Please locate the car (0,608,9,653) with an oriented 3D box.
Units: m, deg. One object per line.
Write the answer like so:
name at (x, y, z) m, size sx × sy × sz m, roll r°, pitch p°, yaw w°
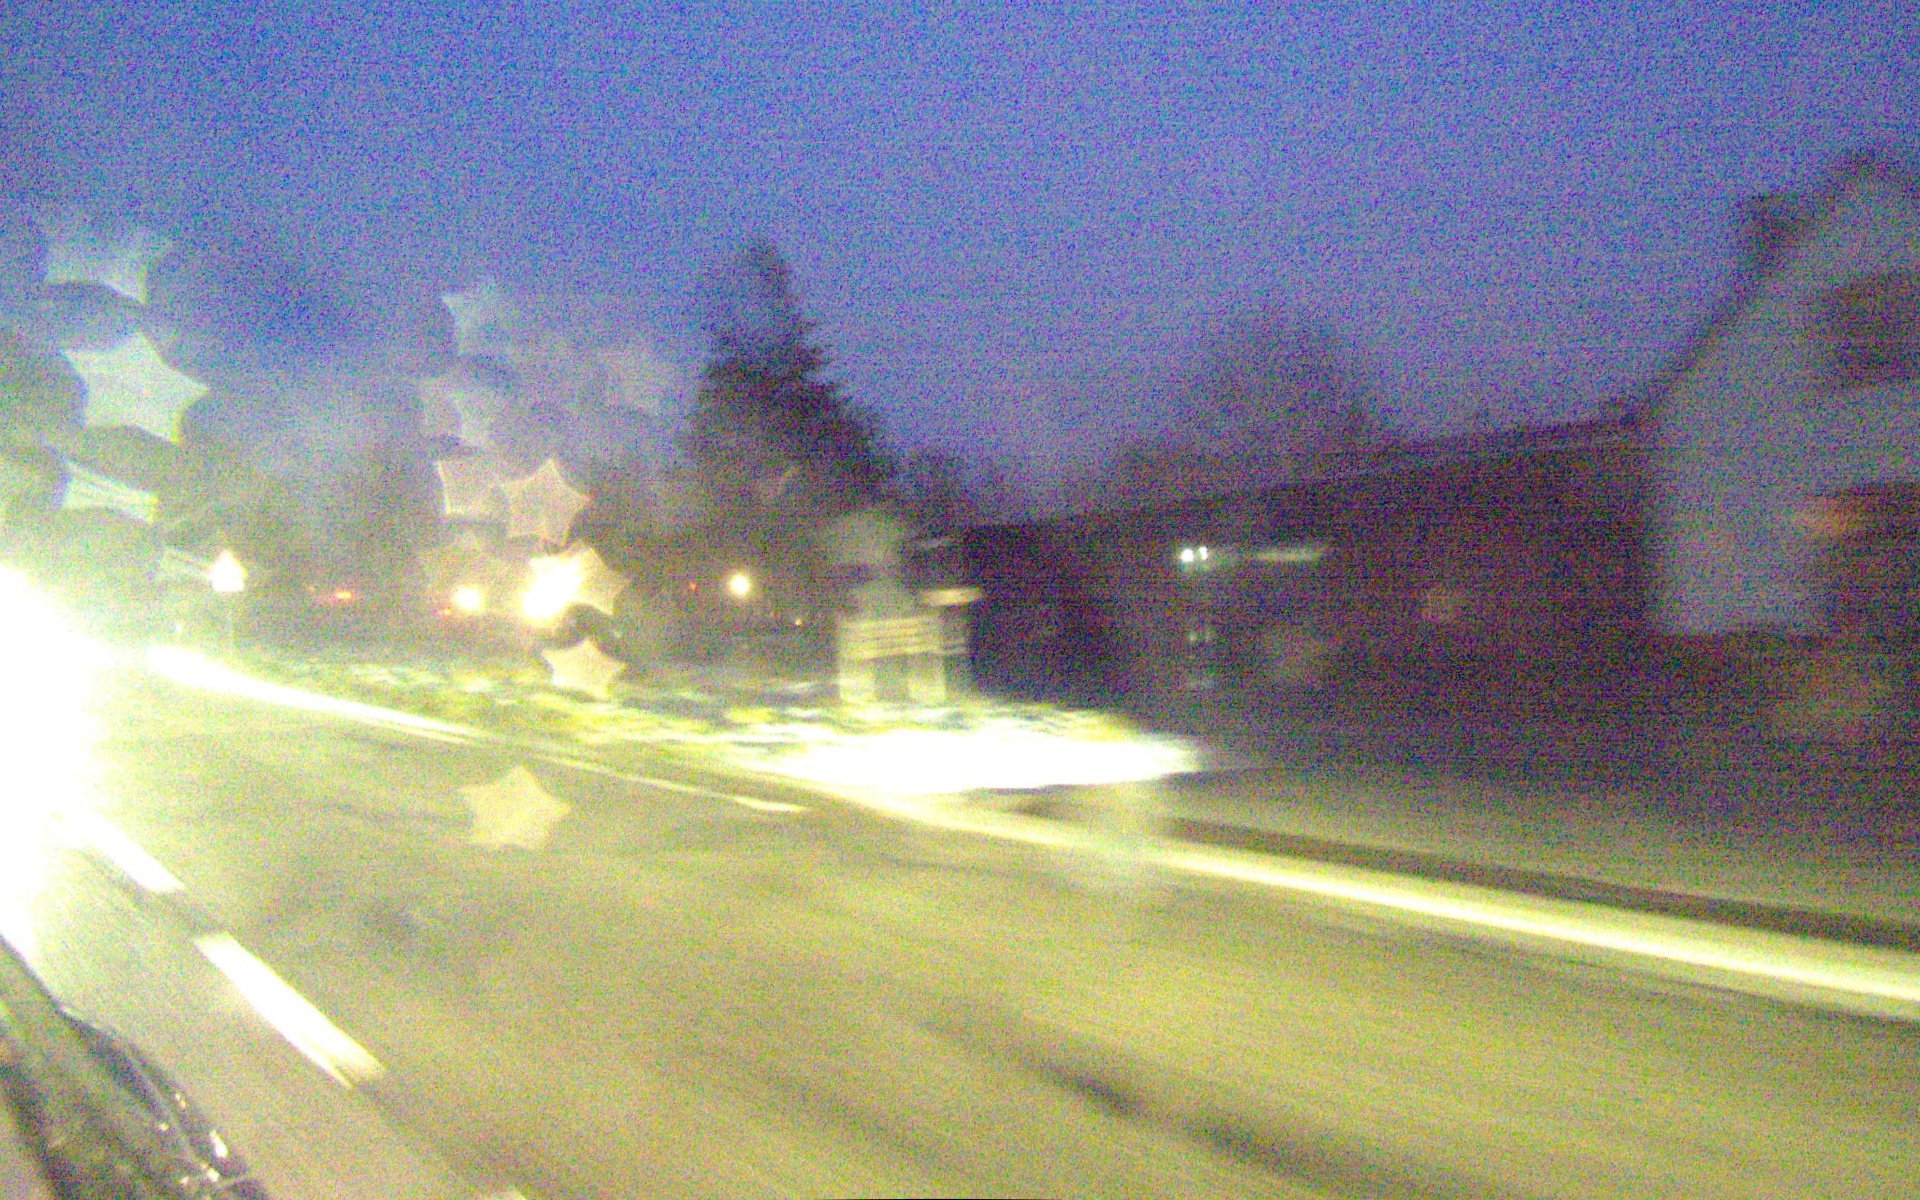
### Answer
car at (-39.436, 1.220, 40.375) m, size 1.930 × 1.734 × 4.006 m, roll 0°, pitch 0°, yaw -40°
